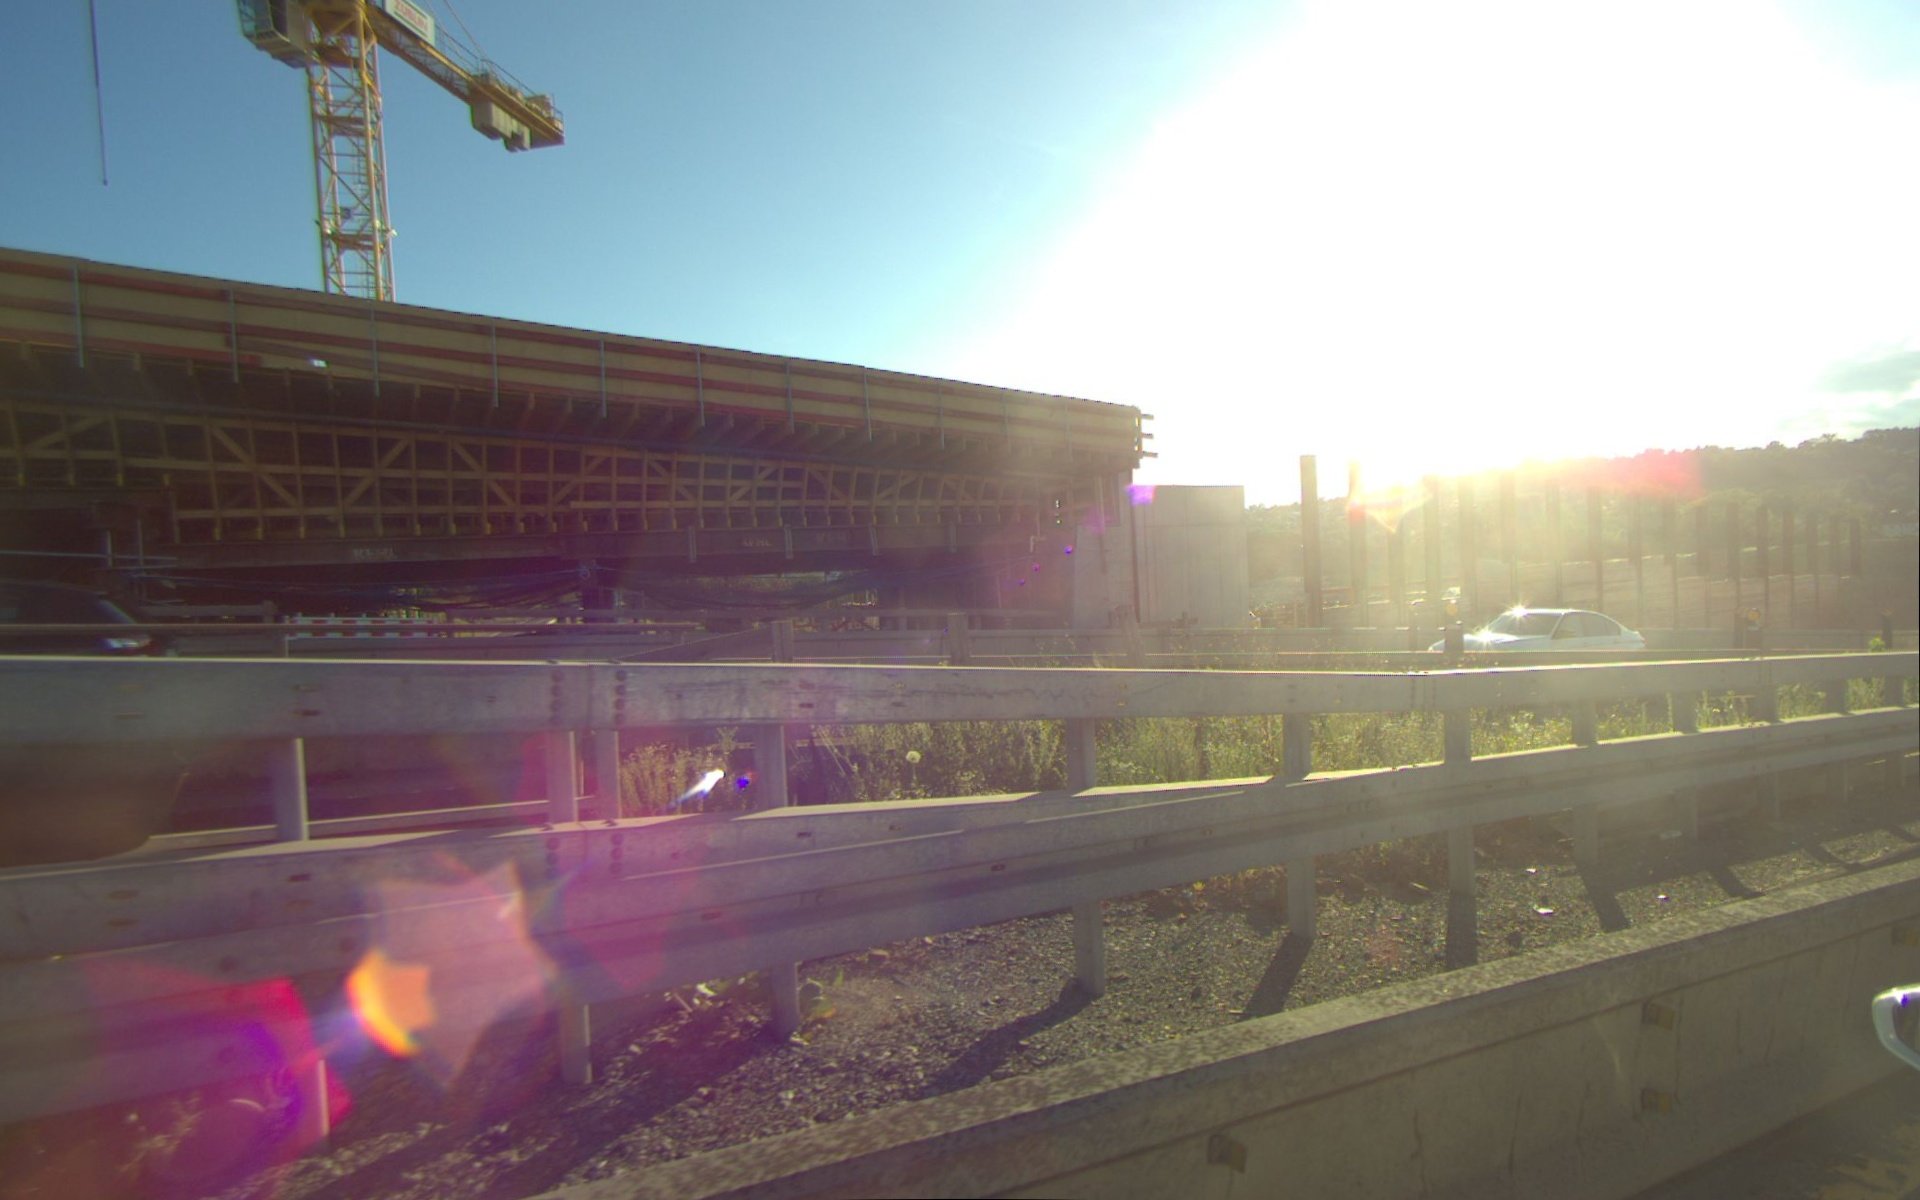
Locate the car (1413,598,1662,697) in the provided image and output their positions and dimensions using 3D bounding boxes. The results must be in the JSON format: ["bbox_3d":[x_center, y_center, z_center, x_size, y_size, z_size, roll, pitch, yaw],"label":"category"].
[{"bbox_3d":[10.717,0.814,18.588,4.600,1.622,1.724,1,1,-26],"label":"car"}]

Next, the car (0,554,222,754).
[{"bbox_3d":[-8.275,0.372,7.766,3.953,1.409,1.653,1,5,-30],"label":"car"}]
